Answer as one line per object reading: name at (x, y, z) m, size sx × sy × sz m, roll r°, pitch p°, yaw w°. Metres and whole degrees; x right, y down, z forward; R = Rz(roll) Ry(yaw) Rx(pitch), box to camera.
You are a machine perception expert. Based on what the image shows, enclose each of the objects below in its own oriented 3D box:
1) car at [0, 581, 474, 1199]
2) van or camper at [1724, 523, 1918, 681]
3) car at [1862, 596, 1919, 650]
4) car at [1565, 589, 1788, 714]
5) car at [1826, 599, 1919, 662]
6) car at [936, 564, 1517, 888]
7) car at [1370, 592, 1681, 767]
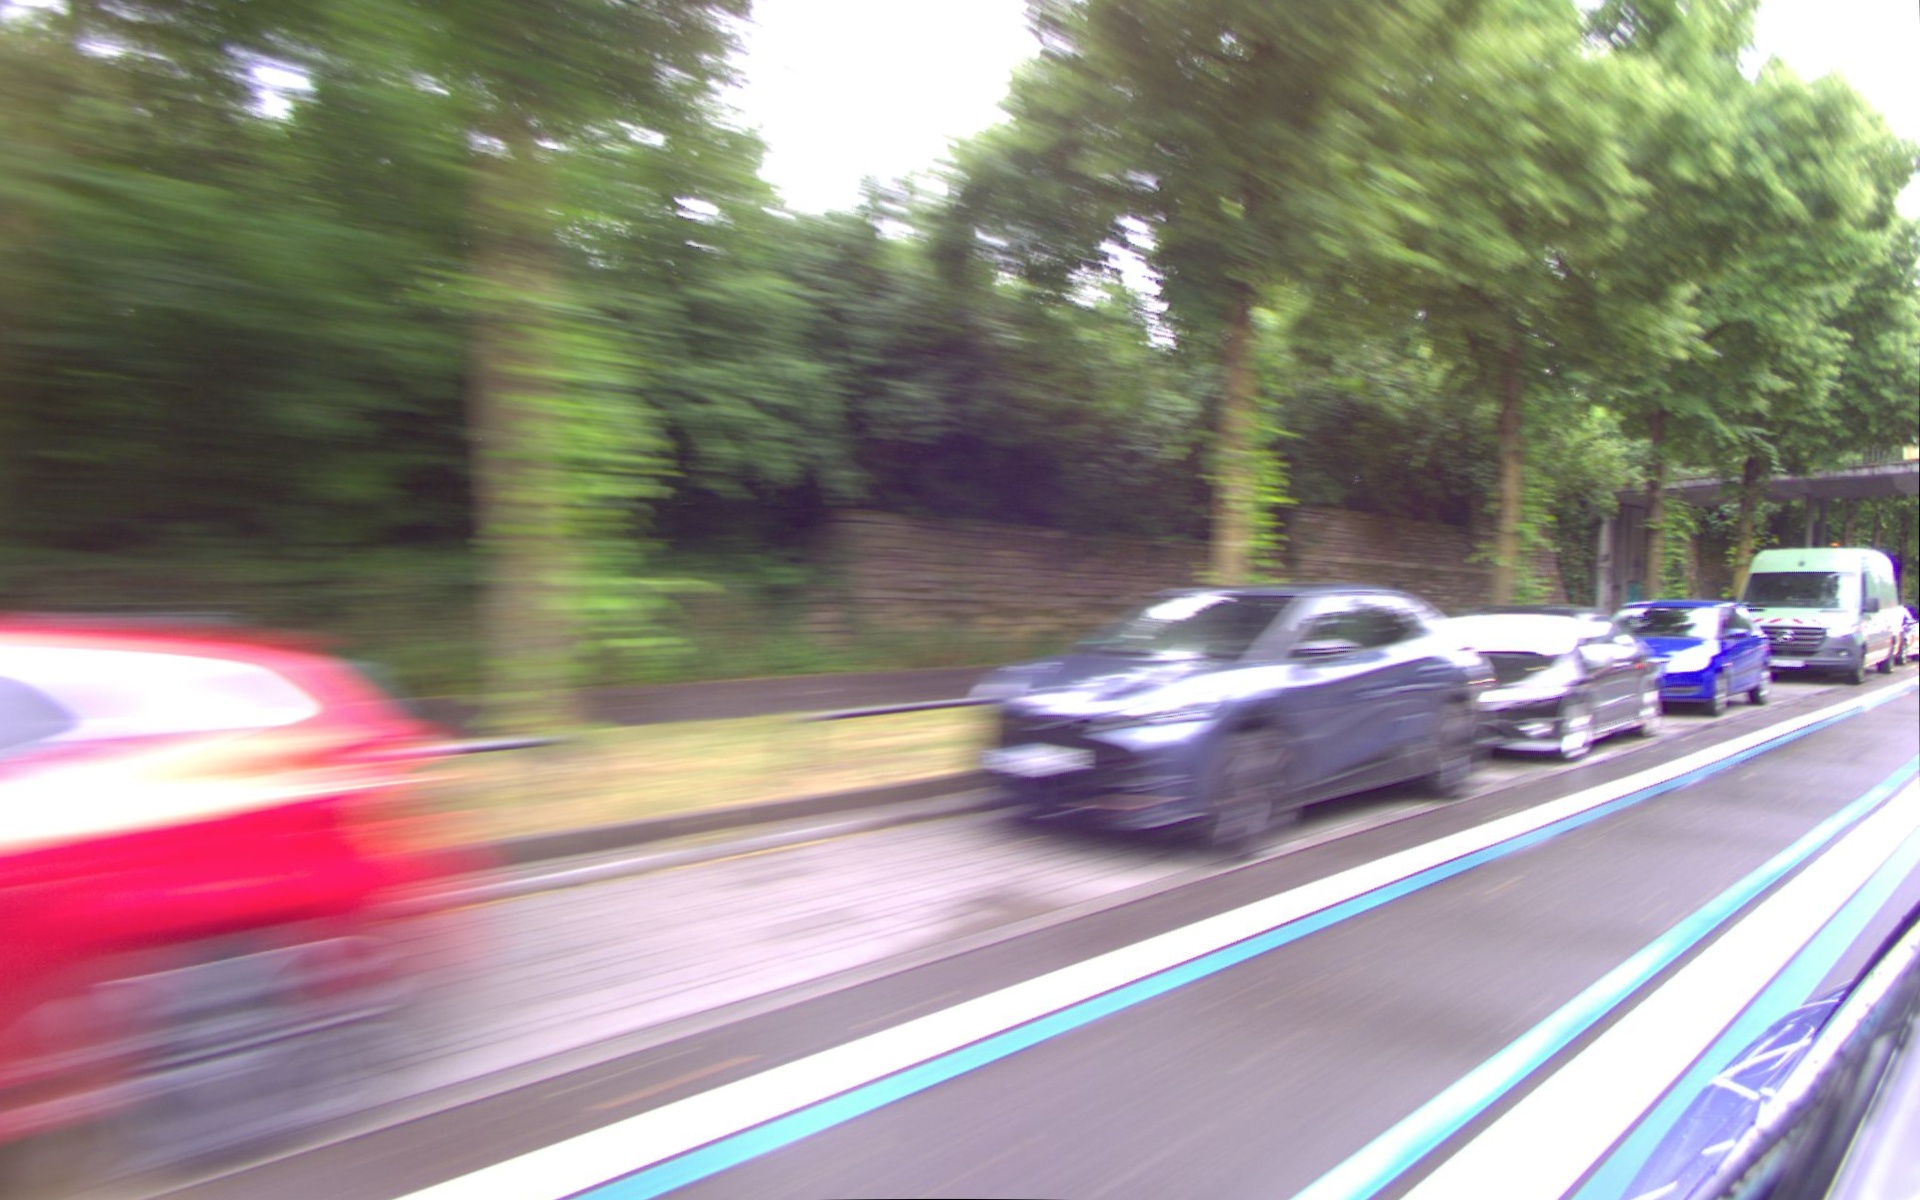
car at (-3.495, 0.694, 2.232) m, size 4.091 × 1.471 × 1.689 m, roll 0°, pitch 0°, yaw -40°
van or camper at (17.734, 0.036, 20.682) m, size 6.780 × 2.764 × 2.045 m, roll 0°, pitch -1°, yaw -41°
car at (27.269, 0.627, 28.874) m, size 4.122 × 1.434 × 1.689 m, roll 0°, pitch 1°, yaw -40°
car at (10.193, 0.634, 14.312) m, size 3.767 × 1.533 × 1.689 m, roll 0°, pitch 0°, yaw -40°
car at (23.290, 0.699, 25.385) m, size 4.026 × 1.434 × 1.690 m, roll 0°, pitch 0°, yaw -39°
car at (2.091, 0.629, 7.140) m, size 4.418 × 1.610 × 1.759 m, roll 0°, pitch 0°, yaw -40°
car at (6.022, 0.677, 10.557) m, size 4.076 × 1.474 × 1.687 m, roll 0°, pitch 0°, yaw -43°
